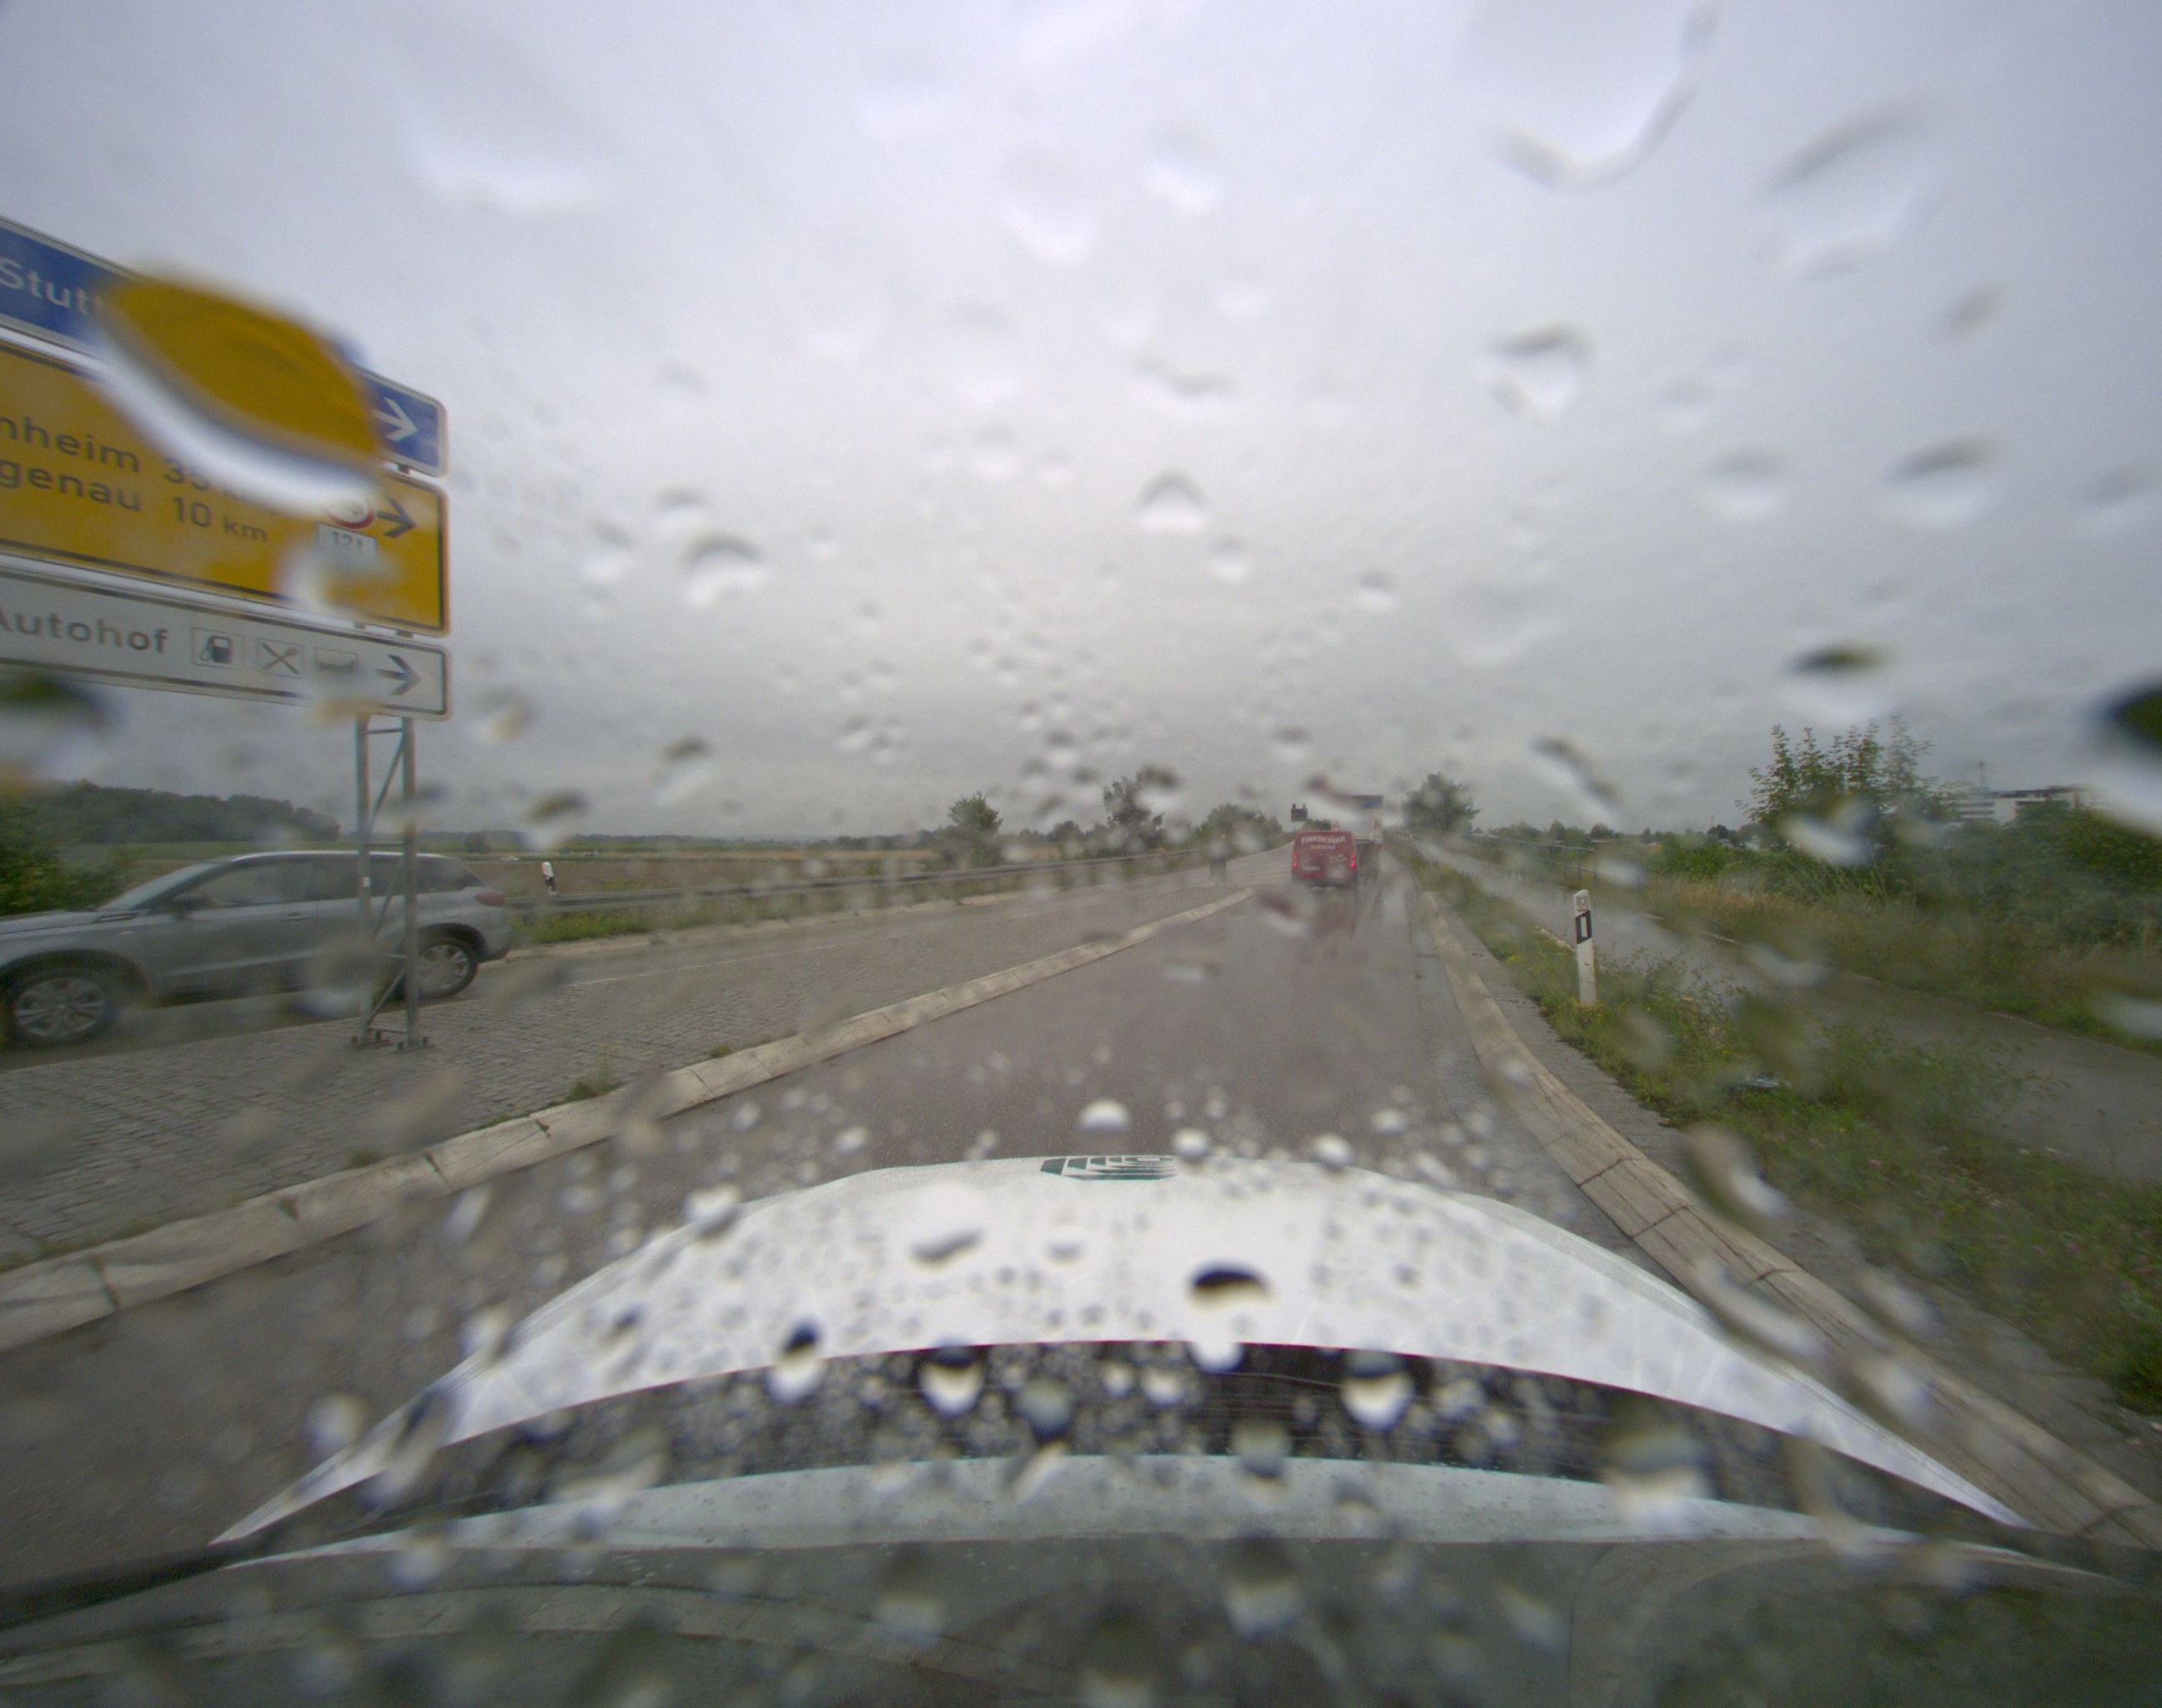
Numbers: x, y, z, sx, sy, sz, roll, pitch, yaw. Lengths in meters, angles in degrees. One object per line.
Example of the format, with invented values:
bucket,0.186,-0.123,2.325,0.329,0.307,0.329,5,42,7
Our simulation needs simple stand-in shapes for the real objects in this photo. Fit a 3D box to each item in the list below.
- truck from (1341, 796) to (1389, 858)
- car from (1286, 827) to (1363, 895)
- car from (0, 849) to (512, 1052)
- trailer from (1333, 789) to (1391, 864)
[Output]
truck,19.016,-1.769,54.419,2.776,3.818,7.729,0,1,20
car,7.685,0.131,25.380,1.977,1.870,5.004,-1,2,20
car,-8.367,0.751,8.134,1.783,1.575,4.026,1,1,36
trailer,16.015,-1.520,46.211,2.808,3.818,9.764,0,1,20
